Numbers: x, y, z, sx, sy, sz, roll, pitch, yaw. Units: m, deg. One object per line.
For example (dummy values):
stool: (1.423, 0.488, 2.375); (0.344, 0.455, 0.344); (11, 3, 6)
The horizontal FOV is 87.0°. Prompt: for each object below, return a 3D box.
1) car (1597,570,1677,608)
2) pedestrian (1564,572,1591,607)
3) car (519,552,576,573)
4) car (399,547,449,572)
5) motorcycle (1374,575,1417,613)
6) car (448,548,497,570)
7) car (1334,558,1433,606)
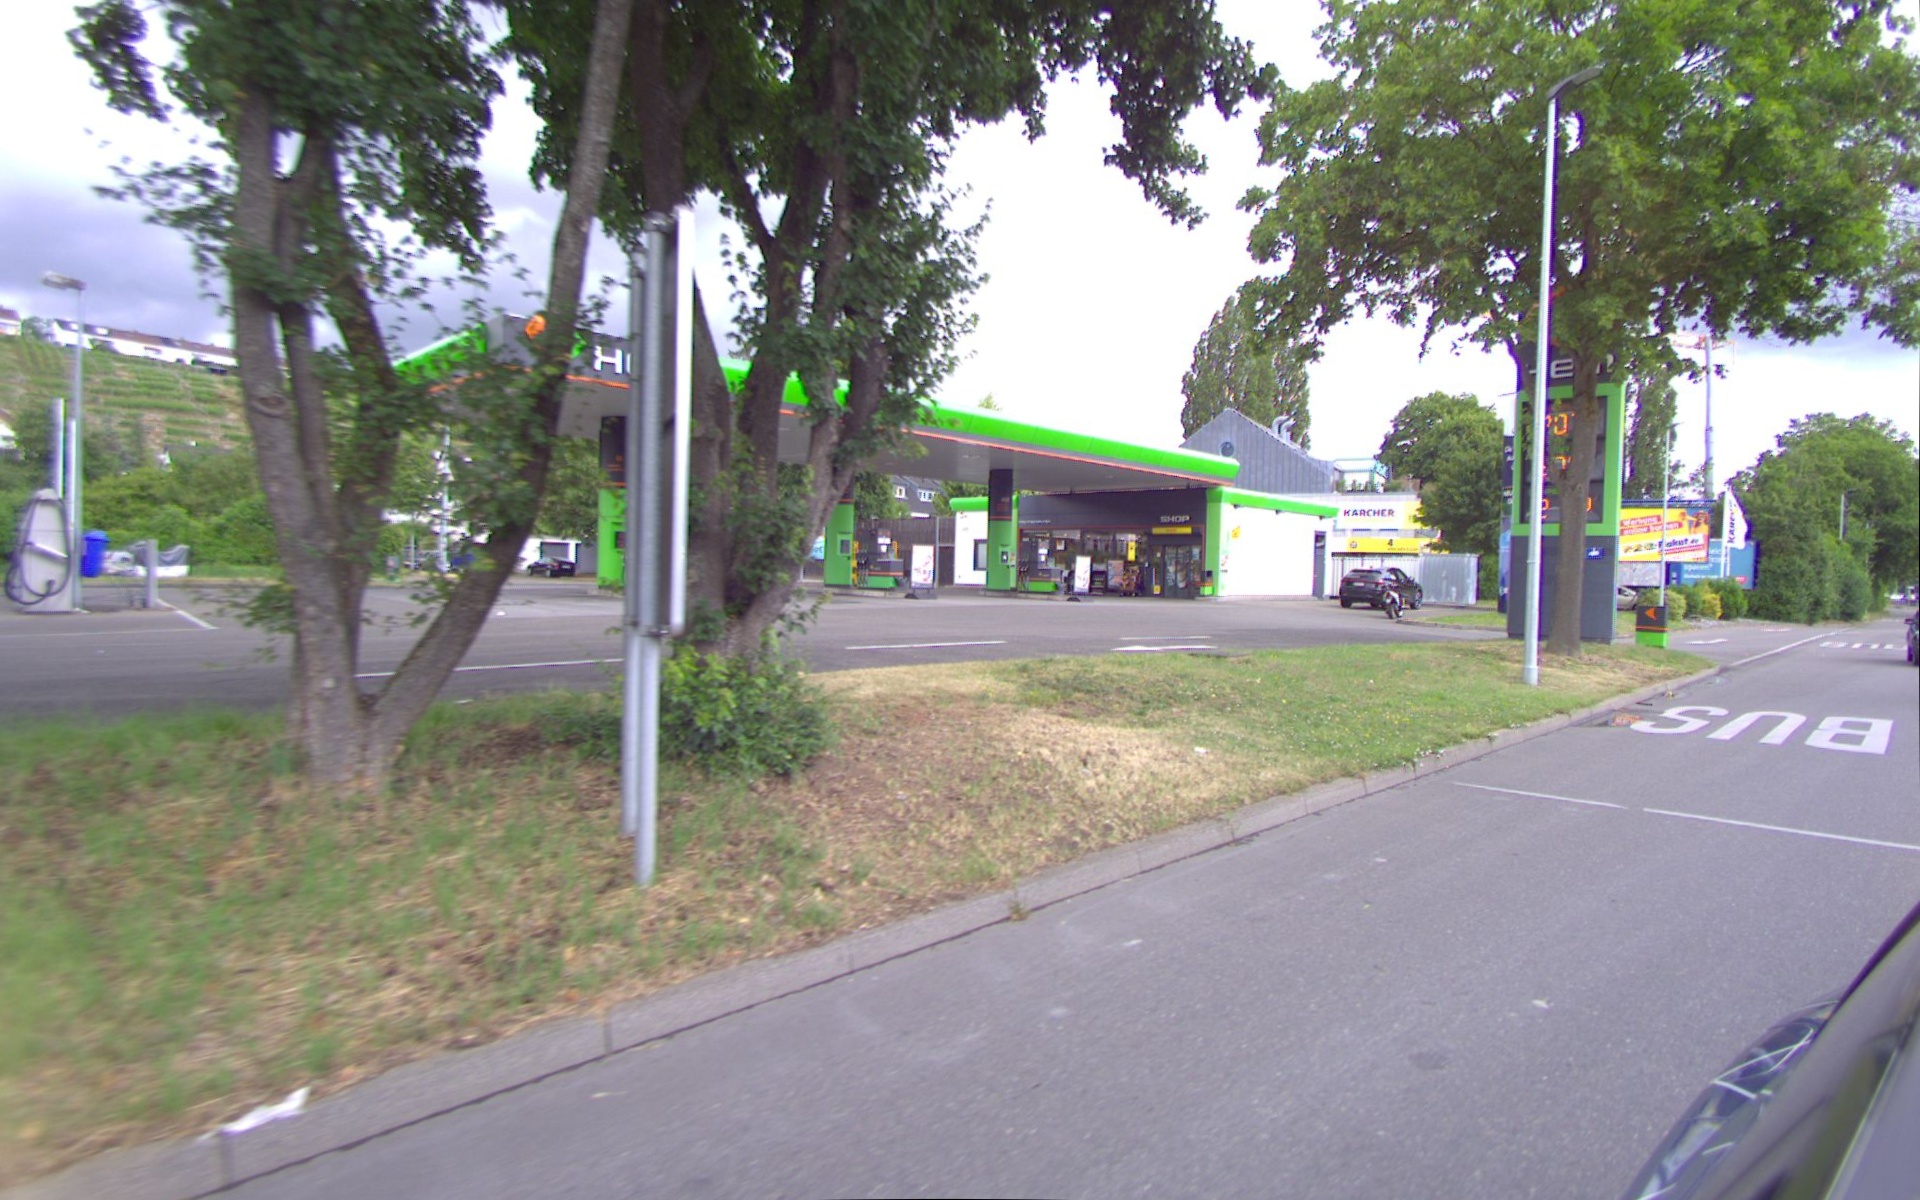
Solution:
car: (33.519, -0.528, 50.192); (3.223, 1.815, 1.526); (0, 0, 34)
pedestrian: (31.039, -0.522, 50.867); (1.031, 1.719, 1.067); (0, 0, 25)
car: (-27.188, -2.470, 66.646); (3.983, 1.234, 1.816); (4, 2, 40)
car: (-32.909, -2.458, 62.092); (1.642, 1.422, 3.867); (0, 0, -45)
motorcycle: (14.433, -0.215, 33.470); (0.701, 1.201, 2.356); (3, 2, 38)
car: (-36.200, -3.054, 75.165); (3.988, 1.556, 1.969); (4, 3, 43)
car: (16.497, -0.714, 39.348); (1.996, 1.658, 4.256); (7, 5, 45)
